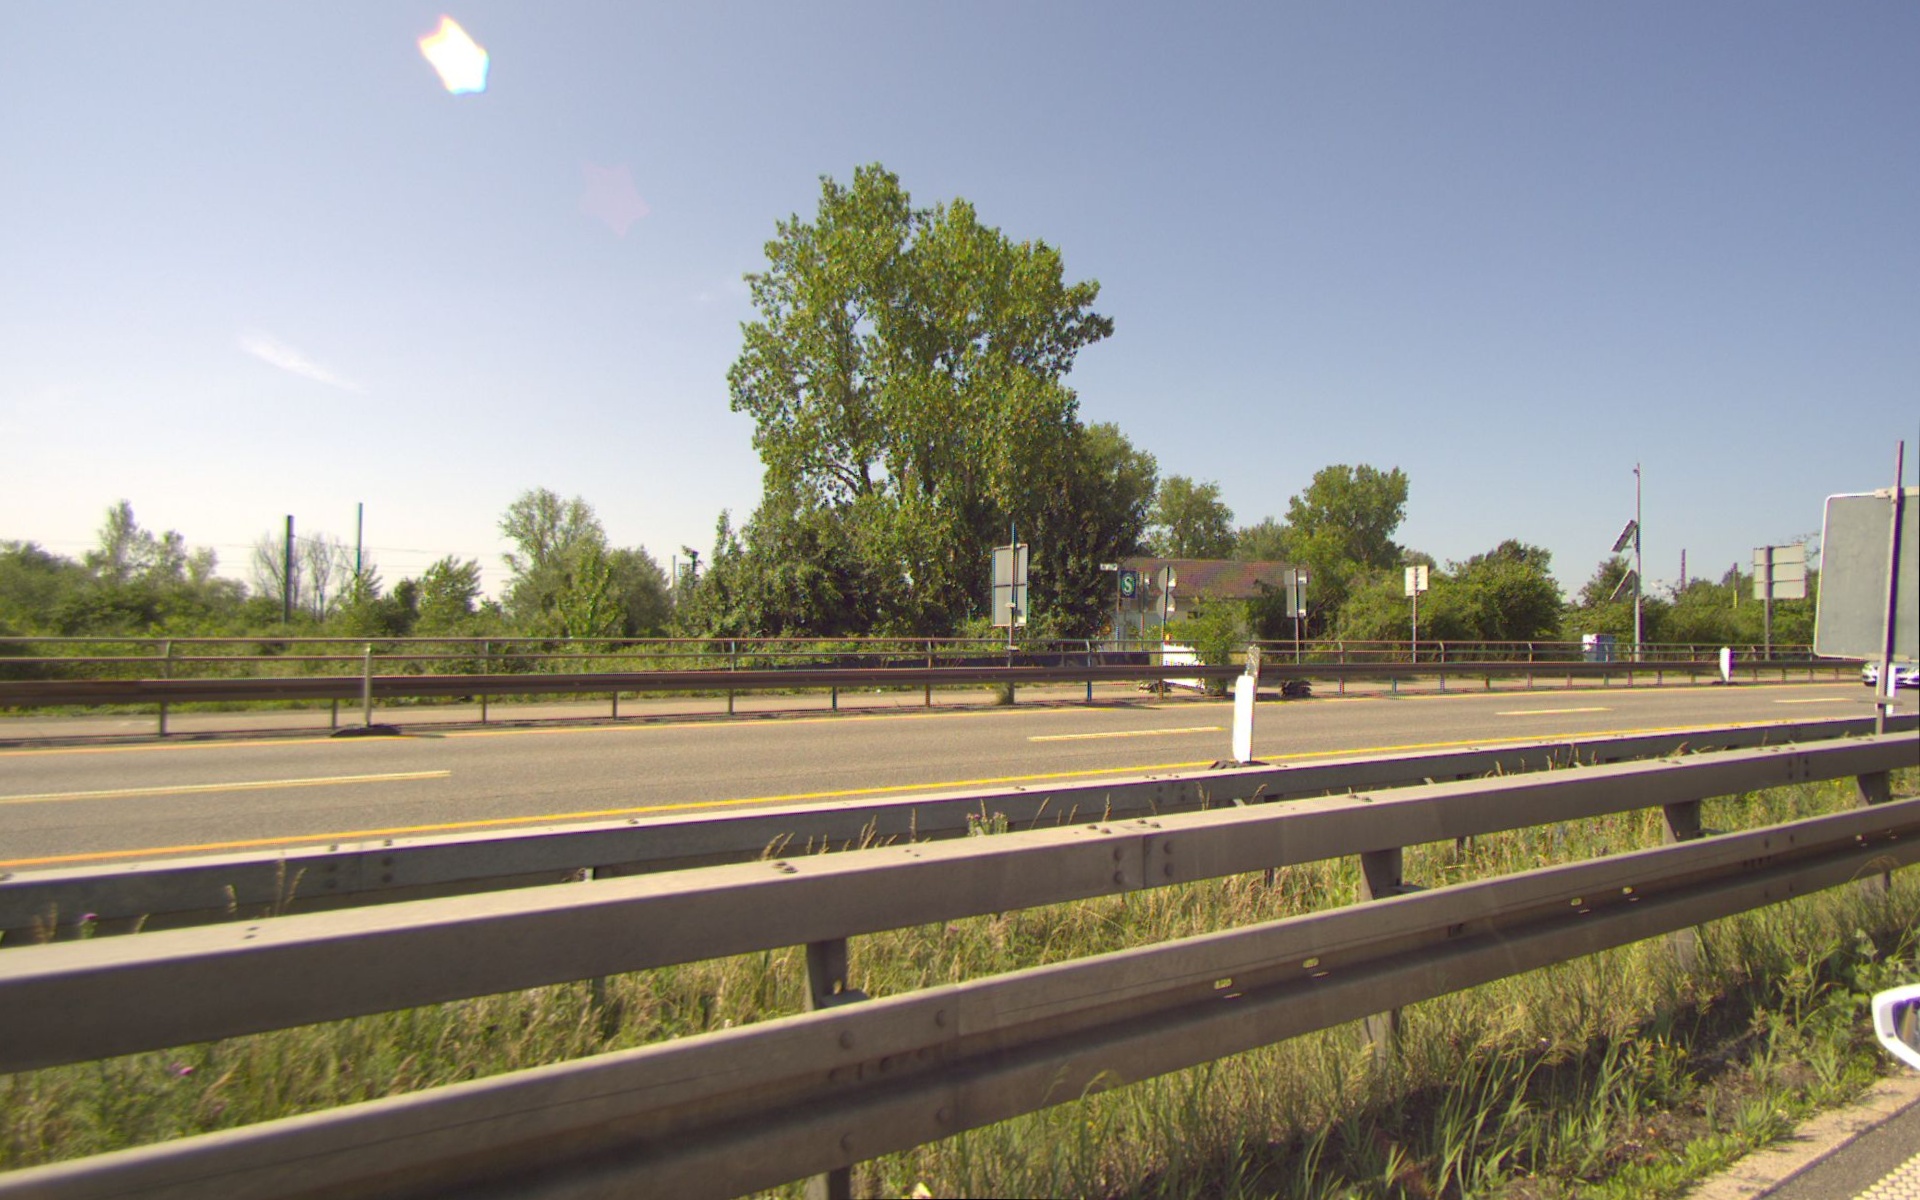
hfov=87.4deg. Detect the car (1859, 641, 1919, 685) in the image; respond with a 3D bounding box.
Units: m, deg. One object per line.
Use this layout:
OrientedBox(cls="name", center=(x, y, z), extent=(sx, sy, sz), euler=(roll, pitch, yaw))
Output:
OrientedBox(cls="car", center=(33.597, 2.167, 34.990), extent=(4.798, 1.439, 1.878), euler=(1, -2, -28))
